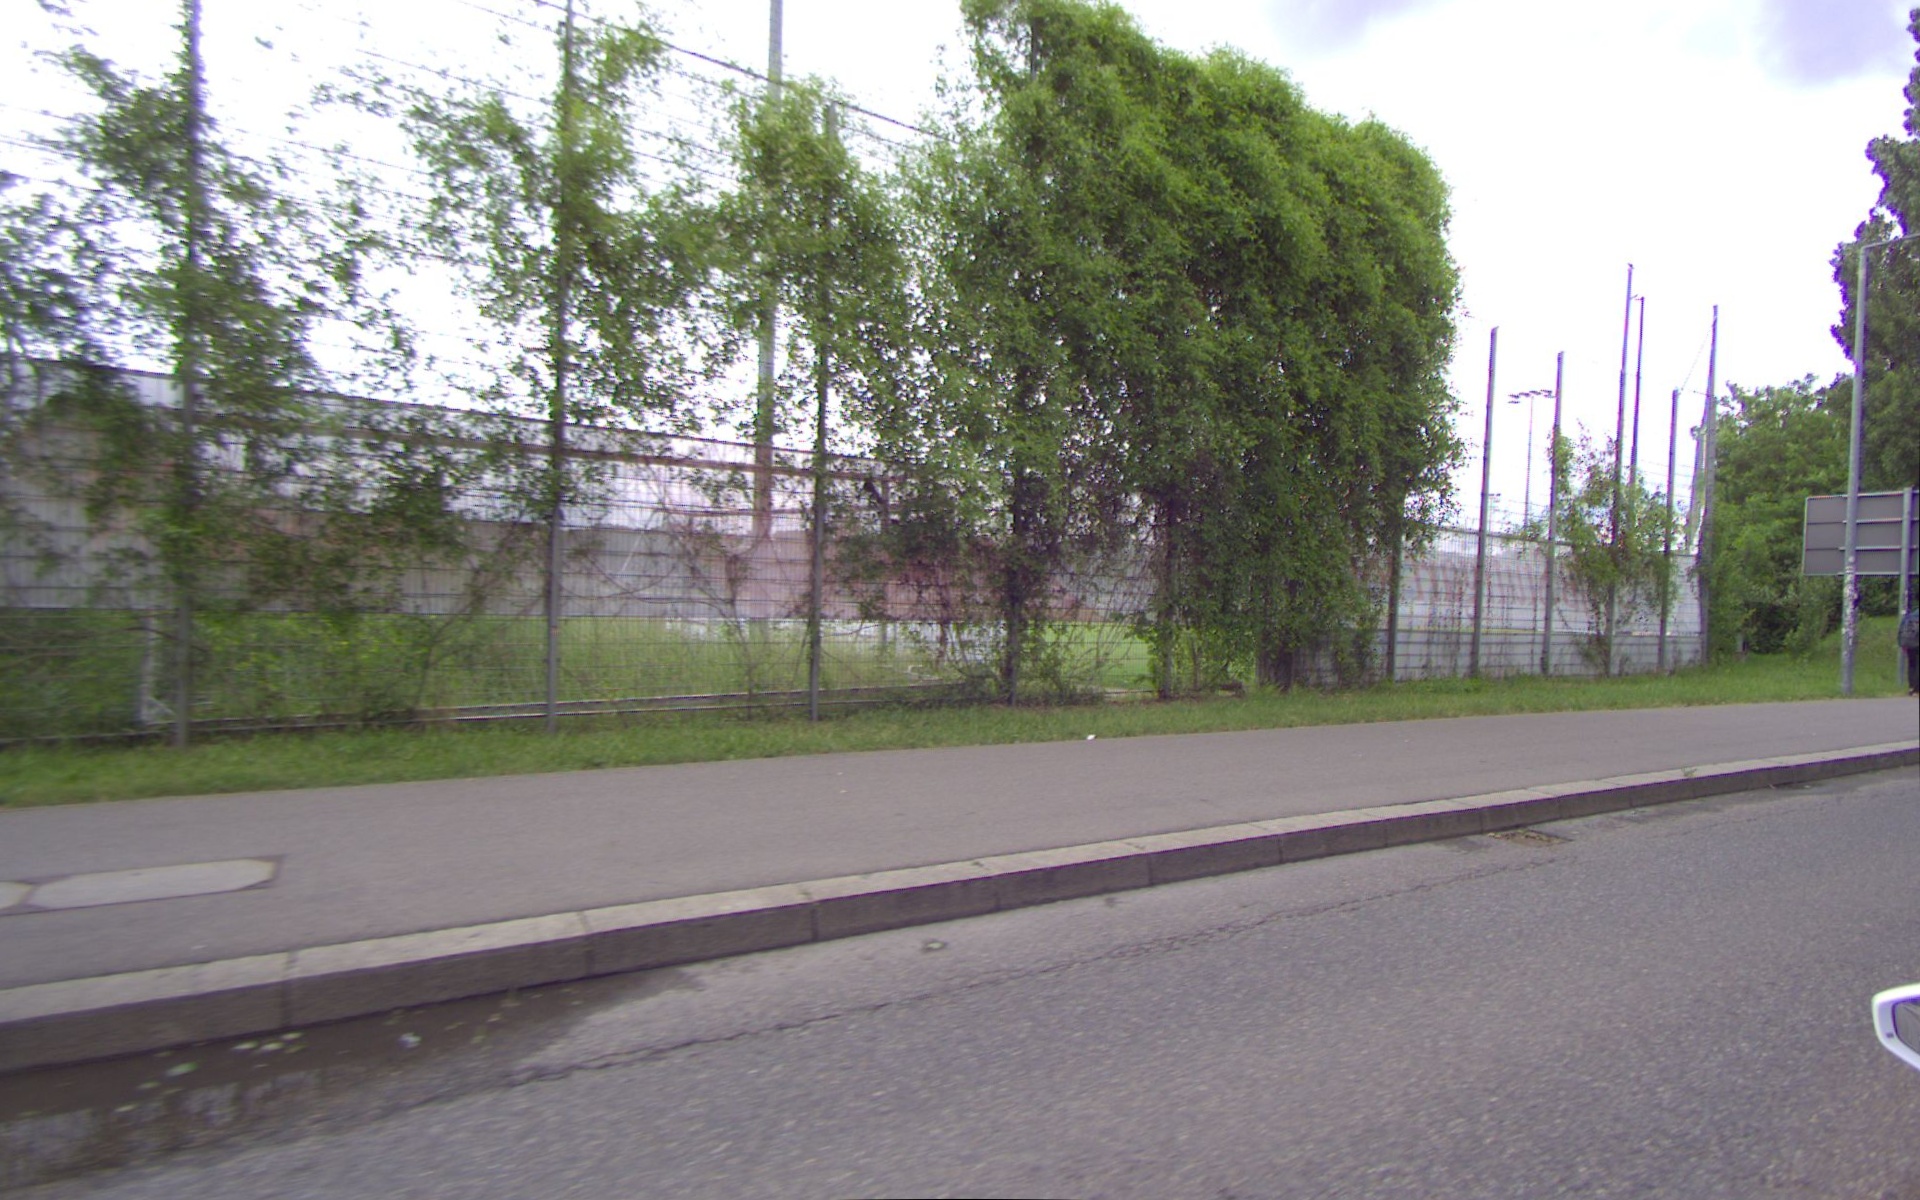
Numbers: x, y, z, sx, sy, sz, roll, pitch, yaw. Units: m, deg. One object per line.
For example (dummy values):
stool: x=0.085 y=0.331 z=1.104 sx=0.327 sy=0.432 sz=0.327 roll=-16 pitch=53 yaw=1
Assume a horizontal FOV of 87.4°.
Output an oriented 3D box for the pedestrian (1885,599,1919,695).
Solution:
pedestrian: x=18.345 y=0.886 z=19.310 sx=0.795 sy=1.805 sz=0.915 roll=1 pitch=1 yaw=43
